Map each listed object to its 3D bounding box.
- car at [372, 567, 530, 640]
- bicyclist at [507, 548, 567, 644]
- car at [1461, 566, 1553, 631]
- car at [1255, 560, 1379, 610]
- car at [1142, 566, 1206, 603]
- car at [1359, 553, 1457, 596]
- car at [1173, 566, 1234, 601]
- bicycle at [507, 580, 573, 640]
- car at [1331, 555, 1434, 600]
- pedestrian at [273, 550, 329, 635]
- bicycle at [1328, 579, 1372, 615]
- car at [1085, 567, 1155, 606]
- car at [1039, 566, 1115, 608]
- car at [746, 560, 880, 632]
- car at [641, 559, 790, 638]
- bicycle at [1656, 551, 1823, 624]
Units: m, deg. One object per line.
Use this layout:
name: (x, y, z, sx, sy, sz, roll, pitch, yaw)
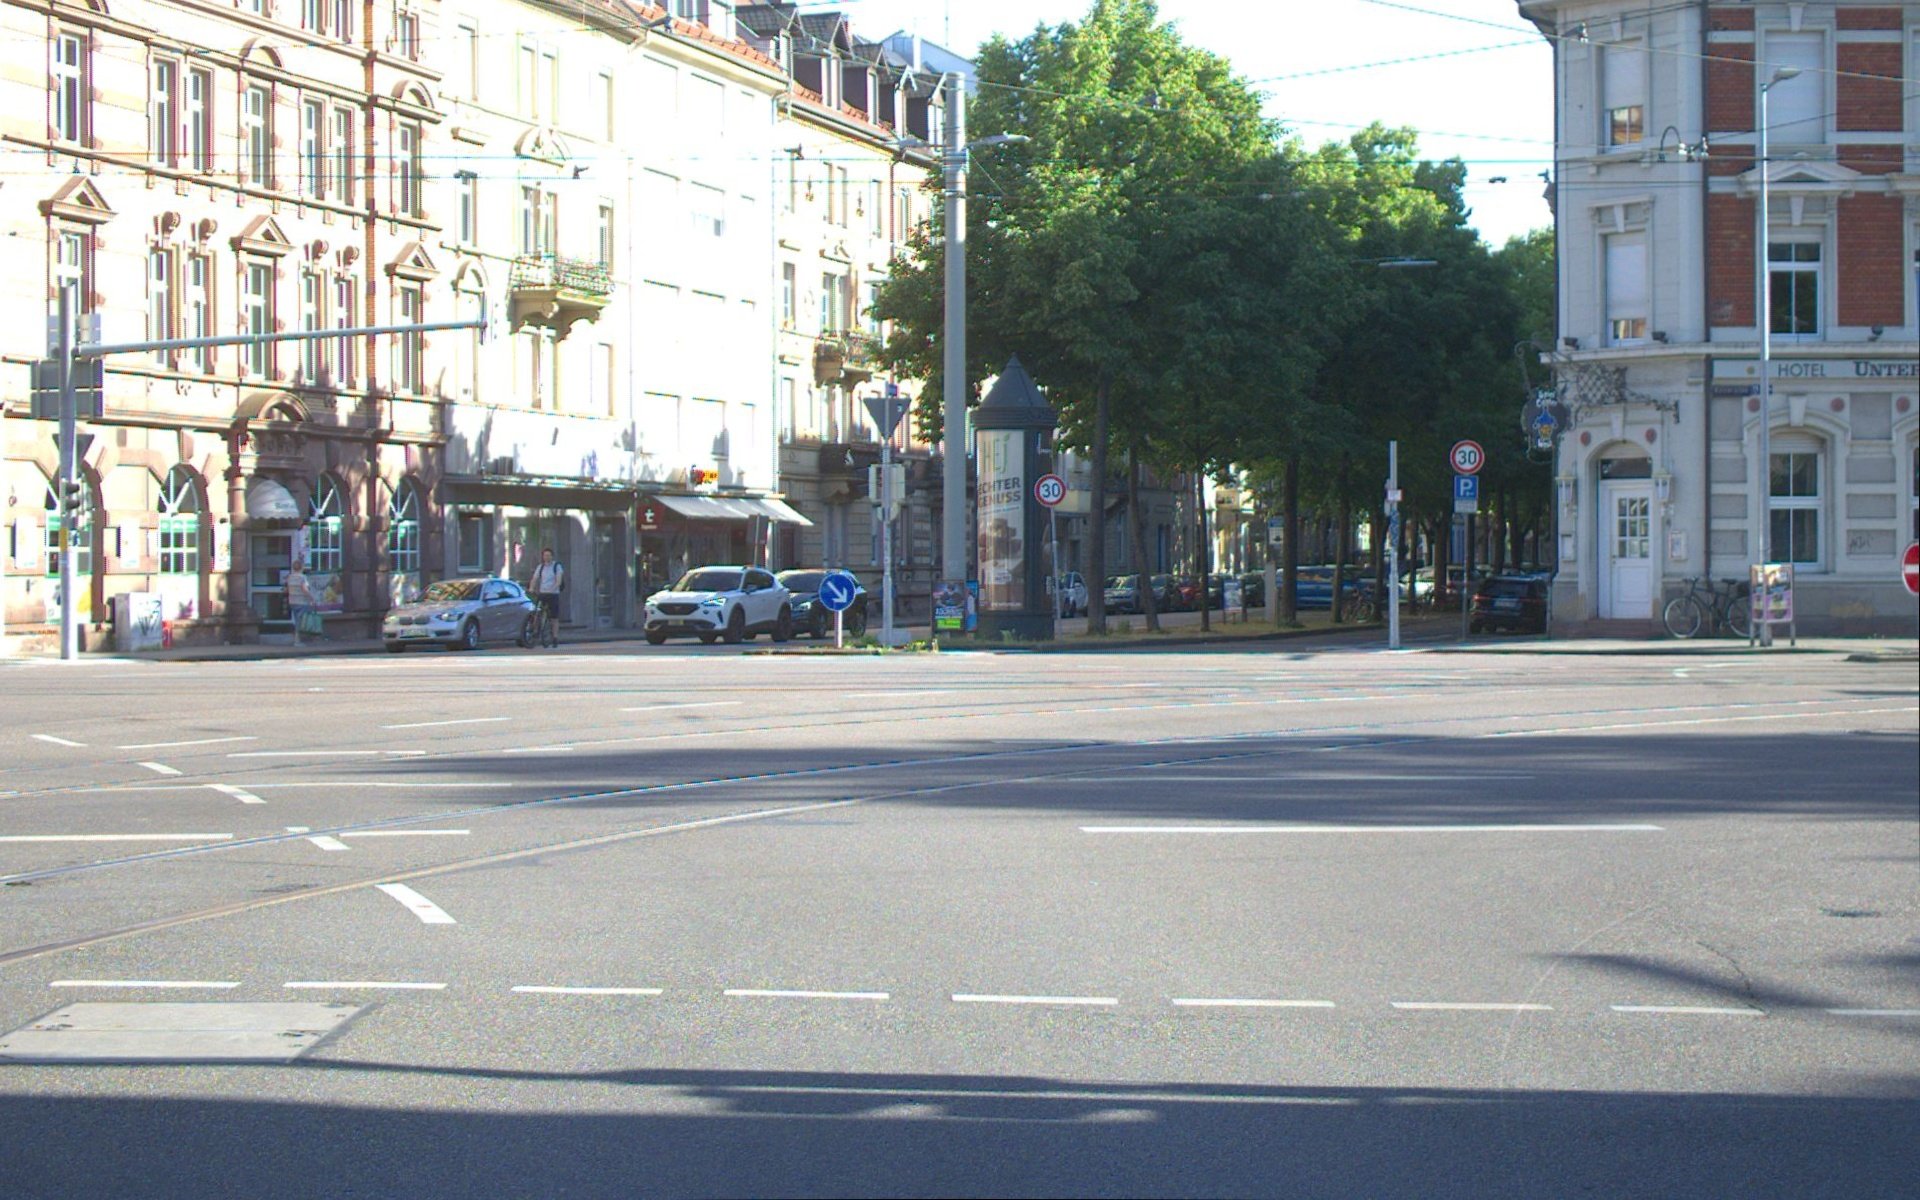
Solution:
car: (-9.866, 0.057, 66.899, 1.678, 1.349, 3.588, 0, 1, 17)
bicyclist: (-8.008, -0.087, 65.127, 0.779, 1.797, 1.055, 1, 0, 14)
car: (13.158, -0.056, 82.560, 1.678, 1.478, 3.945, 0, 1, 17)
car: (12.004, -0.508, 115.664, 3.905, 1.642, 1.681, 0, 1, 17)
car: (8.154, -0.613, 130.734, 1.678, 1.349, 3.588, 0, 1, 17)
car: (17.402, -0.999, 133.492, 3.582, 1.642, 1.681, 0, 1, 17)
car: (9.627, -0.652, 135.764, 1.678, 1.349, 3.588, 0, 1, 17)
bicycle: (-7.972, 0.186, 65.253, 0.702, 1.114, 1.634, 1, 1, 13)
car: (15.727, -0.845, 128.019, 3.582, 1.642, 1.681, 0, 1, 17)
pedestrian: (-12.988, -0.155, 67.724, 0.776, 1.664, 0.830, 1, 0, 15)
bicycle: (11.271, -0.103, 99.470, 0.636, 1.018, 1.847, 1, 1, -14)
car: (5.717, -0.495, 122.428, 1.678, 1.349, 3.588, 0, 1, 17)
car: (3.946, -0.442, 115.467, 1.678, 1.349, 3.588, 0, 1, 17)
car: (-3.112, -0.101, 73.603, 1.678, 1.478, 3.945, 0, 1, 17)
car: (-4.755, -0.051, 67.302, 1.678, 1.478, 3.768, 0, 1, 17)
bicycle: (12.975, -0.207, 57.262, 2.554, 1.170, 0.819, 1, 0, -3)
